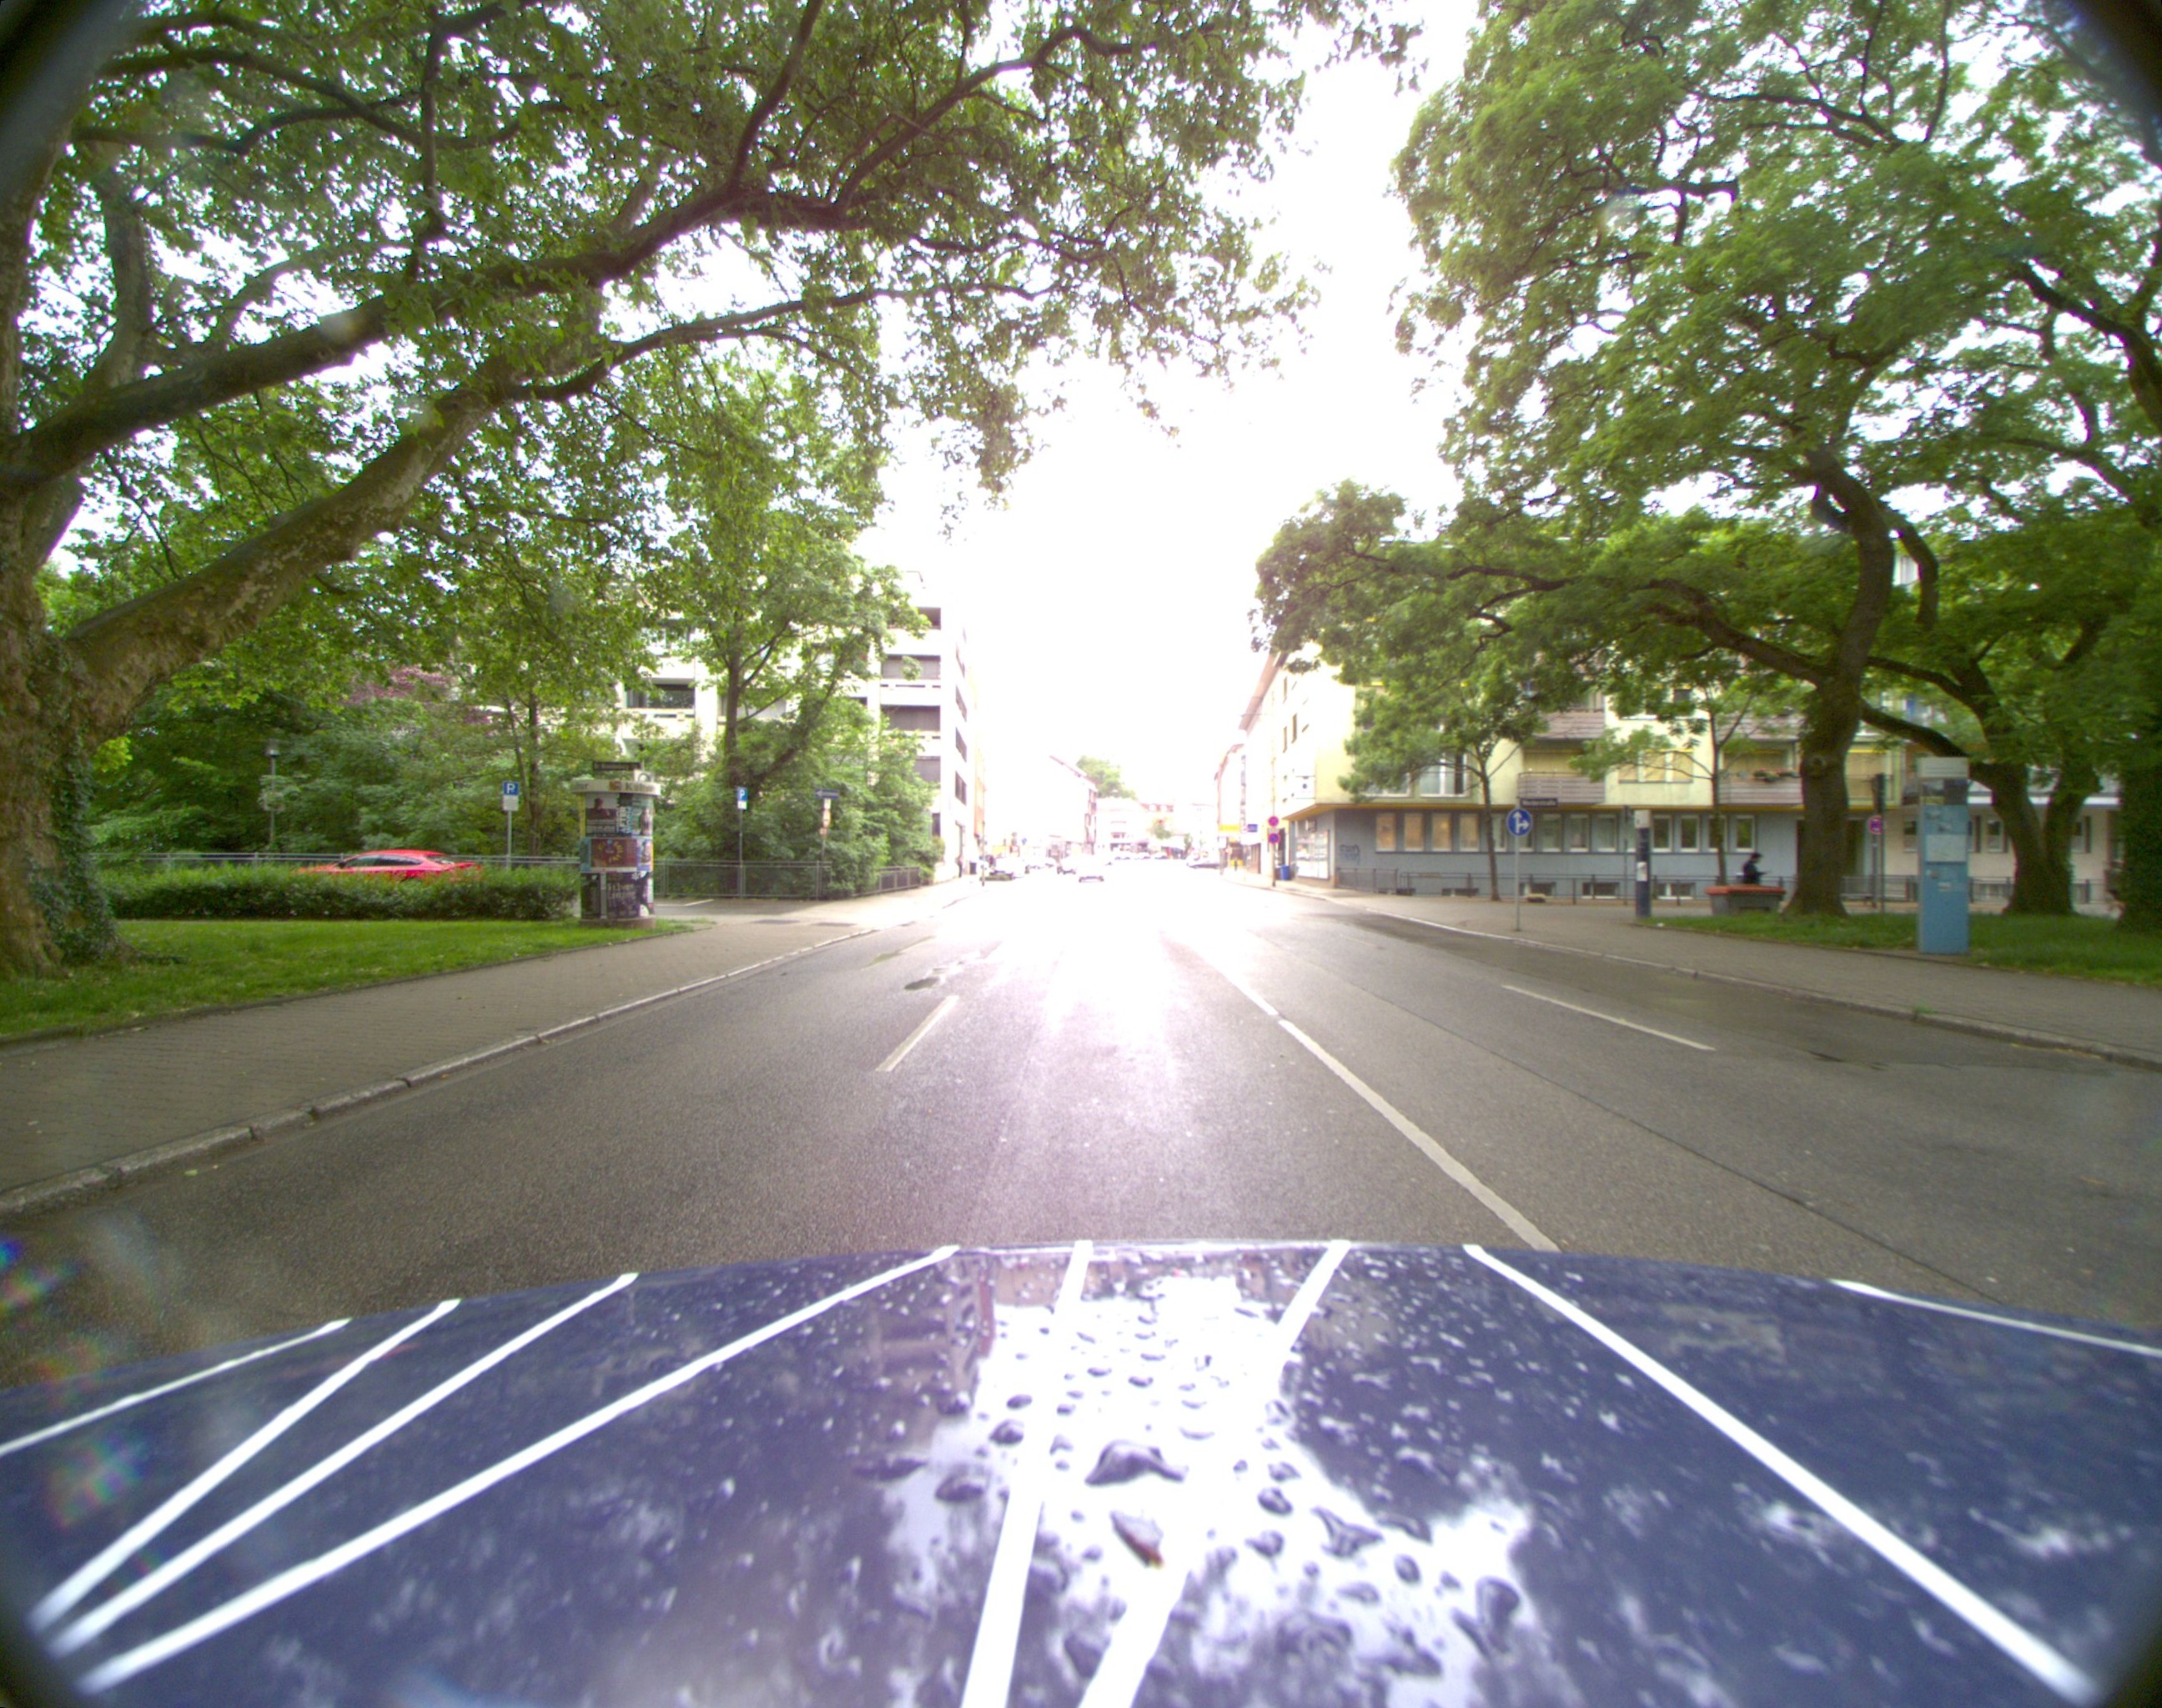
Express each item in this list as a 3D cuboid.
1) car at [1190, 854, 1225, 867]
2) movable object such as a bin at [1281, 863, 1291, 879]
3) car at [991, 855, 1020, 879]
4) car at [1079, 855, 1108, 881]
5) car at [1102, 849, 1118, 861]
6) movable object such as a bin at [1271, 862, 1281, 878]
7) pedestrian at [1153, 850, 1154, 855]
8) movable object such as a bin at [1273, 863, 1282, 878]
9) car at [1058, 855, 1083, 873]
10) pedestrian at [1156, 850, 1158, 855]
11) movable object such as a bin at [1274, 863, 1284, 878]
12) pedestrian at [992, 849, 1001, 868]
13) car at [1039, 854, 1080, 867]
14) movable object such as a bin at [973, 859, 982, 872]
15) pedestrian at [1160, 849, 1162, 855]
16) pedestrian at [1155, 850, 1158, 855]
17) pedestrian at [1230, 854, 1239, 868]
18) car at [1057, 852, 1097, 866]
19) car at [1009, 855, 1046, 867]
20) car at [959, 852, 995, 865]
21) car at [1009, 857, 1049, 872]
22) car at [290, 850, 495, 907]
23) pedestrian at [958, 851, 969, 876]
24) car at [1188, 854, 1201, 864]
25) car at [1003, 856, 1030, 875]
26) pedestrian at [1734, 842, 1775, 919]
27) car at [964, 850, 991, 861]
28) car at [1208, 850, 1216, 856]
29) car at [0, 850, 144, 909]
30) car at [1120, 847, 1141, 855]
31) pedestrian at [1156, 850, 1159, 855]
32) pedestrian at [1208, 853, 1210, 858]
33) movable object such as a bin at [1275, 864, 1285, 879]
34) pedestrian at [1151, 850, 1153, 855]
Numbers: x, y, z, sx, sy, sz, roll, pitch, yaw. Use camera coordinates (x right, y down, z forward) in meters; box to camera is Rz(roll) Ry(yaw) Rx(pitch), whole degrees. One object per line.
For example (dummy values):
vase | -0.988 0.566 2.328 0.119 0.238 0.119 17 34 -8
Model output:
car | 16.068 0.803 96.496 4.196 1.596 1.481 1 0 1
movable object such as a bin | 13.016 1.063 48.249 0.529 0.955 0.435 -4 0 8
car | -5.279 0.881 53.509 1.706 1.549 3.804 1 0 -1
car | 0.797 0.847 48.343 1.756 1.559 4.000 -2 0 1
car | 4.500 0.156 118.731 2.016 1.754 4.766 1 0 8
movable object such as a bin | 12.992 1.047 50.547 0.517 0.994 0.524 -4 0 8
pedestrian | 16.863 -0.316 176.625 0.399 1.283 0.380 0 1 10
movable object such as a bin | 12.907 1.076 49.875 0.465 0.922 0.428 -4 0 8
car | -1.025 0.943 72.352 1.758 1.559 3.997 -2 0 -9
pedestrian | 18.294 -0.434 183.128 0.379 1.283 0.401 0 1 38
movable object such as a bin | 12.848 1.085 49.313 0.529 0.922 0.426 -4 0 8
pedestrian | -9.294 0.475 83.228 0.806 2.140 0.737 0 1 -23
car | -2.746 0.792 97.562 4.964 1.596 1.563 1 0 5
movable object such as a bin | -8.606 0.926 62.942 0.681 1.097 0.514 0 1 -2
pedestrian | 18.898 -0.424 178.965 0.379 1.283 0.401 0 1 39
pedestrian | 18.473 -0.315 185.680 0.379 1.283 0.401 1 1 39
pedestrian | 16.722 0.750 82.841 0.785 1.578 0.674 -2 0 21
car | -0.469 0.595 93.599 4.687 1.559 1.758 -2 0 2
car | -6.553 0.873 93.416 4.464 1.377 1.475 0 0 -1
car | -12.866 0.560 93.996 4.157 1.576 1.801 1 0 -1
car | -5.836 1.177 85.239 4.150 1.576 1.804 1 0 24
car | -19.559 0.684 21.748 3.999 1.473 1.875 1 1 -5
pedestrian | -8.105 0.653 52.325 0.599 1.650 0.691 3 0 -7
car | 18.144 0.740 121.375 1.834 1.612 4.003 0 0 10
car | -5.125 0.920 60.473 1.835 1.412 4.569 1 0 -1
pedestrian | 18.105 0.692 20.456 0.780 2.002 0.754 0 1 39
car | -16.447 0.228 121.145 3.783 1.701 1.842 0 0 20
car | 33.345 -0.305 193.382 1.591 1.518 3.491 0 0 14
car | -29.538 0.679 21.398 3.932 1.561 1.735 1 0 -4
car | 11.003 -0.686 168.990 2.050 1.754 4.556 1 0 -43
pedestrian | 18.011 -0.411 178.972 0.379 1.283 0.401 1 1 40
pedestrian | 29.281 0.310 173.155 0.400 1.283 0.380 0 1 1
movable object such as a bin | 12.774 1.119 48.822 0.529 0.890 0.435 -4 0 8
pedestrian | 16.785 -0.346 180.422 0.379 1.283 0.401 0 1 38
